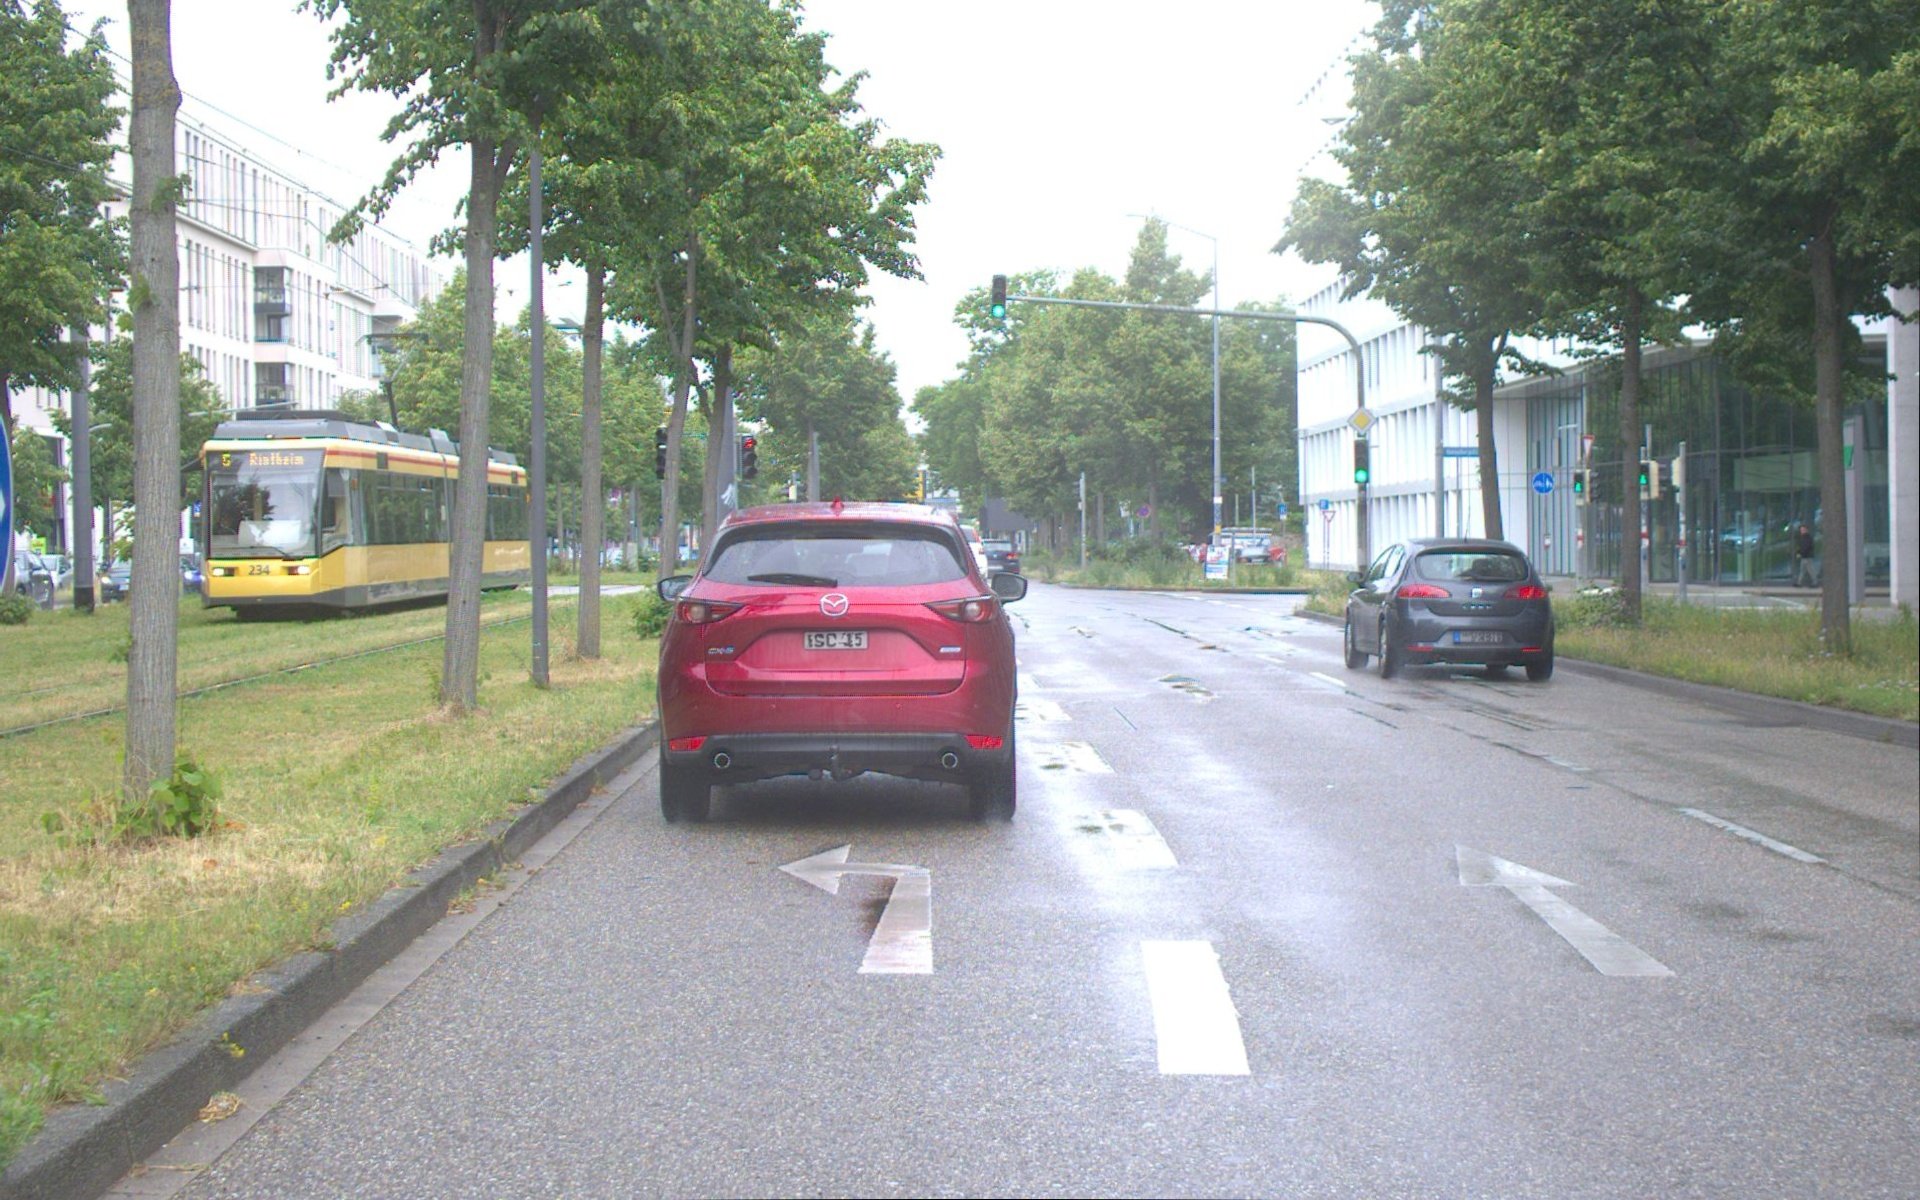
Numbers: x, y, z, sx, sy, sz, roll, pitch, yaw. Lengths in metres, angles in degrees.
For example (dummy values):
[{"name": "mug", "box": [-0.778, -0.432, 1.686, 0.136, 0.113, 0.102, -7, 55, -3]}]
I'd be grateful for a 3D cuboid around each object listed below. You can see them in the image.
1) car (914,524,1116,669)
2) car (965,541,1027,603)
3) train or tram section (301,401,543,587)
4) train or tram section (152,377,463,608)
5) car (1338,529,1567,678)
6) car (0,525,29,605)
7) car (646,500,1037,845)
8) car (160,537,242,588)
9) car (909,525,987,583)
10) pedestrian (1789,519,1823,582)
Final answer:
[{"name": "car", "box": [0.643, -0.076, 36.856, 1.960, 1.460, 3.781, 0, 1, 4]}, {"name": "car", "box": [1.205, -0.979, 116.919, 1.993, 2.007, 4.000, -1, 1, -1]}, {"name": "train or tram section", "box": [-11.494, -2.279, 75.207, 3.129, 3.646, 15.066, 0, 2, -1]}, {"name": "train or tram section", "box": [-11.275, -1.877, 61.019, 3.129, 3.646, 13.408, 0, 2, -1]}, {"name": "car", "box": [5.114, -0.002, 36.154, 1.743, 1.460, 3.782, 0, 1, -2]}, {"name": "car", "box": [-17.813, -0.609, 60.703, 1.710, 1.399, 4.000, -1, 2, -1]}, {"name": "car", "box": [-0.622, 0.302, 18.742, 1.898, 1.671, 4.001, 0, 1, -1]}, {"name": "car", "box": [-25.398, -1.273, 115.166, 1.993, 1.612, 4.001, -1, 2, -2]}, {"name": "car", "box": [-0.325, -1.219, 89.861, 1.967, 1.432, 4.553, 1, 1, -1]}, {"name": "pedestrian", "box": [22.970, -1.359, 93.300, 0.782, 1.701, 0.679, 0, 1, 25]}]
